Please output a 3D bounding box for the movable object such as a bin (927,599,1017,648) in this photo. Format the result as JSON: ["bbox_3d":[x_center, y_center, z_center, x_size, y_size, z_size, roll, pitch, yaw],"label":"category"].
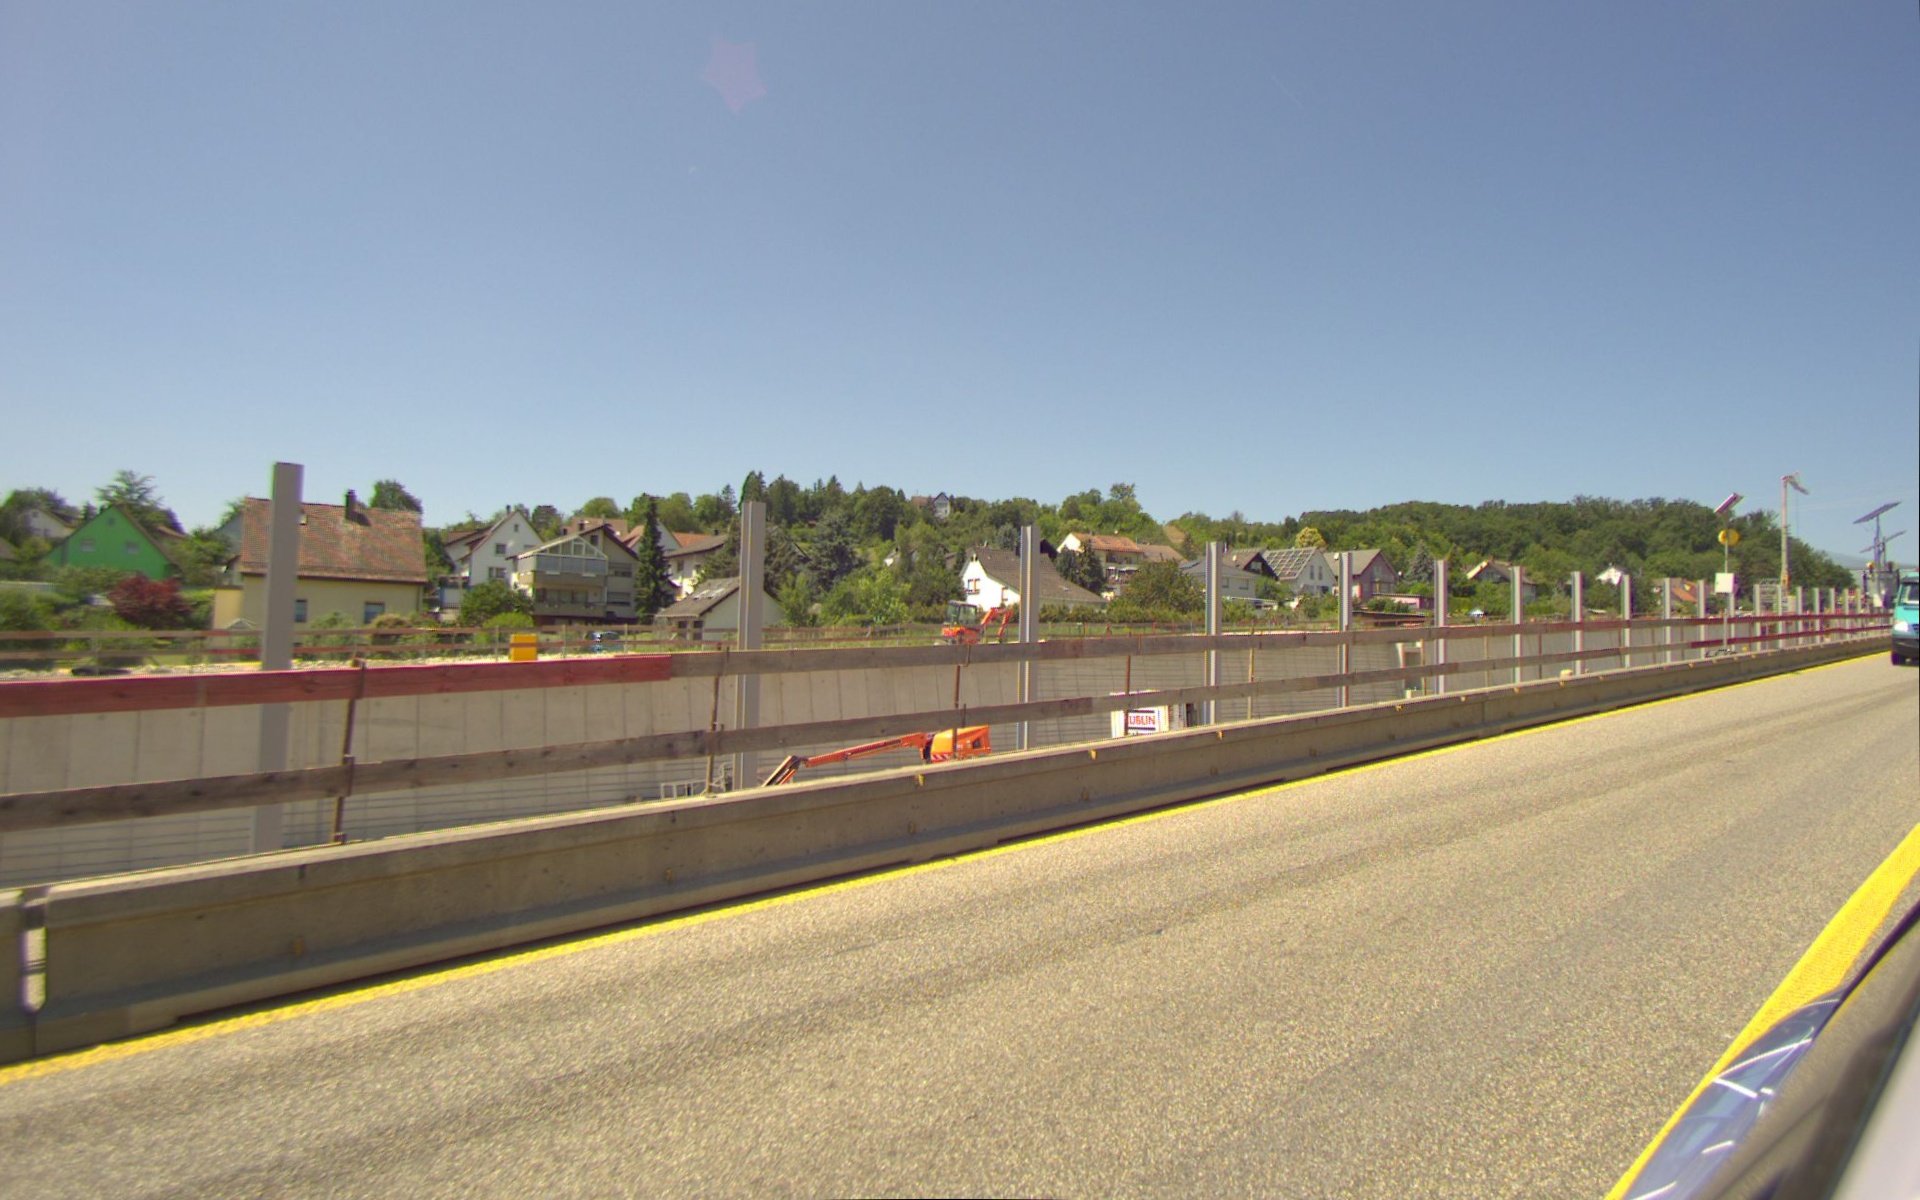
[{"bbox_3d":[0.605,1.109,49.497,4.078,2.267,1.997,0,0,-40],"label":"movable object such as a bin"}]

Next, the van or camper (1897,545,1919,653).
[{"bbox_3d":[25.409,0.017,25.297,7.536,2.504,2.096,1,-1,-41],"label":"van or camper"}]
